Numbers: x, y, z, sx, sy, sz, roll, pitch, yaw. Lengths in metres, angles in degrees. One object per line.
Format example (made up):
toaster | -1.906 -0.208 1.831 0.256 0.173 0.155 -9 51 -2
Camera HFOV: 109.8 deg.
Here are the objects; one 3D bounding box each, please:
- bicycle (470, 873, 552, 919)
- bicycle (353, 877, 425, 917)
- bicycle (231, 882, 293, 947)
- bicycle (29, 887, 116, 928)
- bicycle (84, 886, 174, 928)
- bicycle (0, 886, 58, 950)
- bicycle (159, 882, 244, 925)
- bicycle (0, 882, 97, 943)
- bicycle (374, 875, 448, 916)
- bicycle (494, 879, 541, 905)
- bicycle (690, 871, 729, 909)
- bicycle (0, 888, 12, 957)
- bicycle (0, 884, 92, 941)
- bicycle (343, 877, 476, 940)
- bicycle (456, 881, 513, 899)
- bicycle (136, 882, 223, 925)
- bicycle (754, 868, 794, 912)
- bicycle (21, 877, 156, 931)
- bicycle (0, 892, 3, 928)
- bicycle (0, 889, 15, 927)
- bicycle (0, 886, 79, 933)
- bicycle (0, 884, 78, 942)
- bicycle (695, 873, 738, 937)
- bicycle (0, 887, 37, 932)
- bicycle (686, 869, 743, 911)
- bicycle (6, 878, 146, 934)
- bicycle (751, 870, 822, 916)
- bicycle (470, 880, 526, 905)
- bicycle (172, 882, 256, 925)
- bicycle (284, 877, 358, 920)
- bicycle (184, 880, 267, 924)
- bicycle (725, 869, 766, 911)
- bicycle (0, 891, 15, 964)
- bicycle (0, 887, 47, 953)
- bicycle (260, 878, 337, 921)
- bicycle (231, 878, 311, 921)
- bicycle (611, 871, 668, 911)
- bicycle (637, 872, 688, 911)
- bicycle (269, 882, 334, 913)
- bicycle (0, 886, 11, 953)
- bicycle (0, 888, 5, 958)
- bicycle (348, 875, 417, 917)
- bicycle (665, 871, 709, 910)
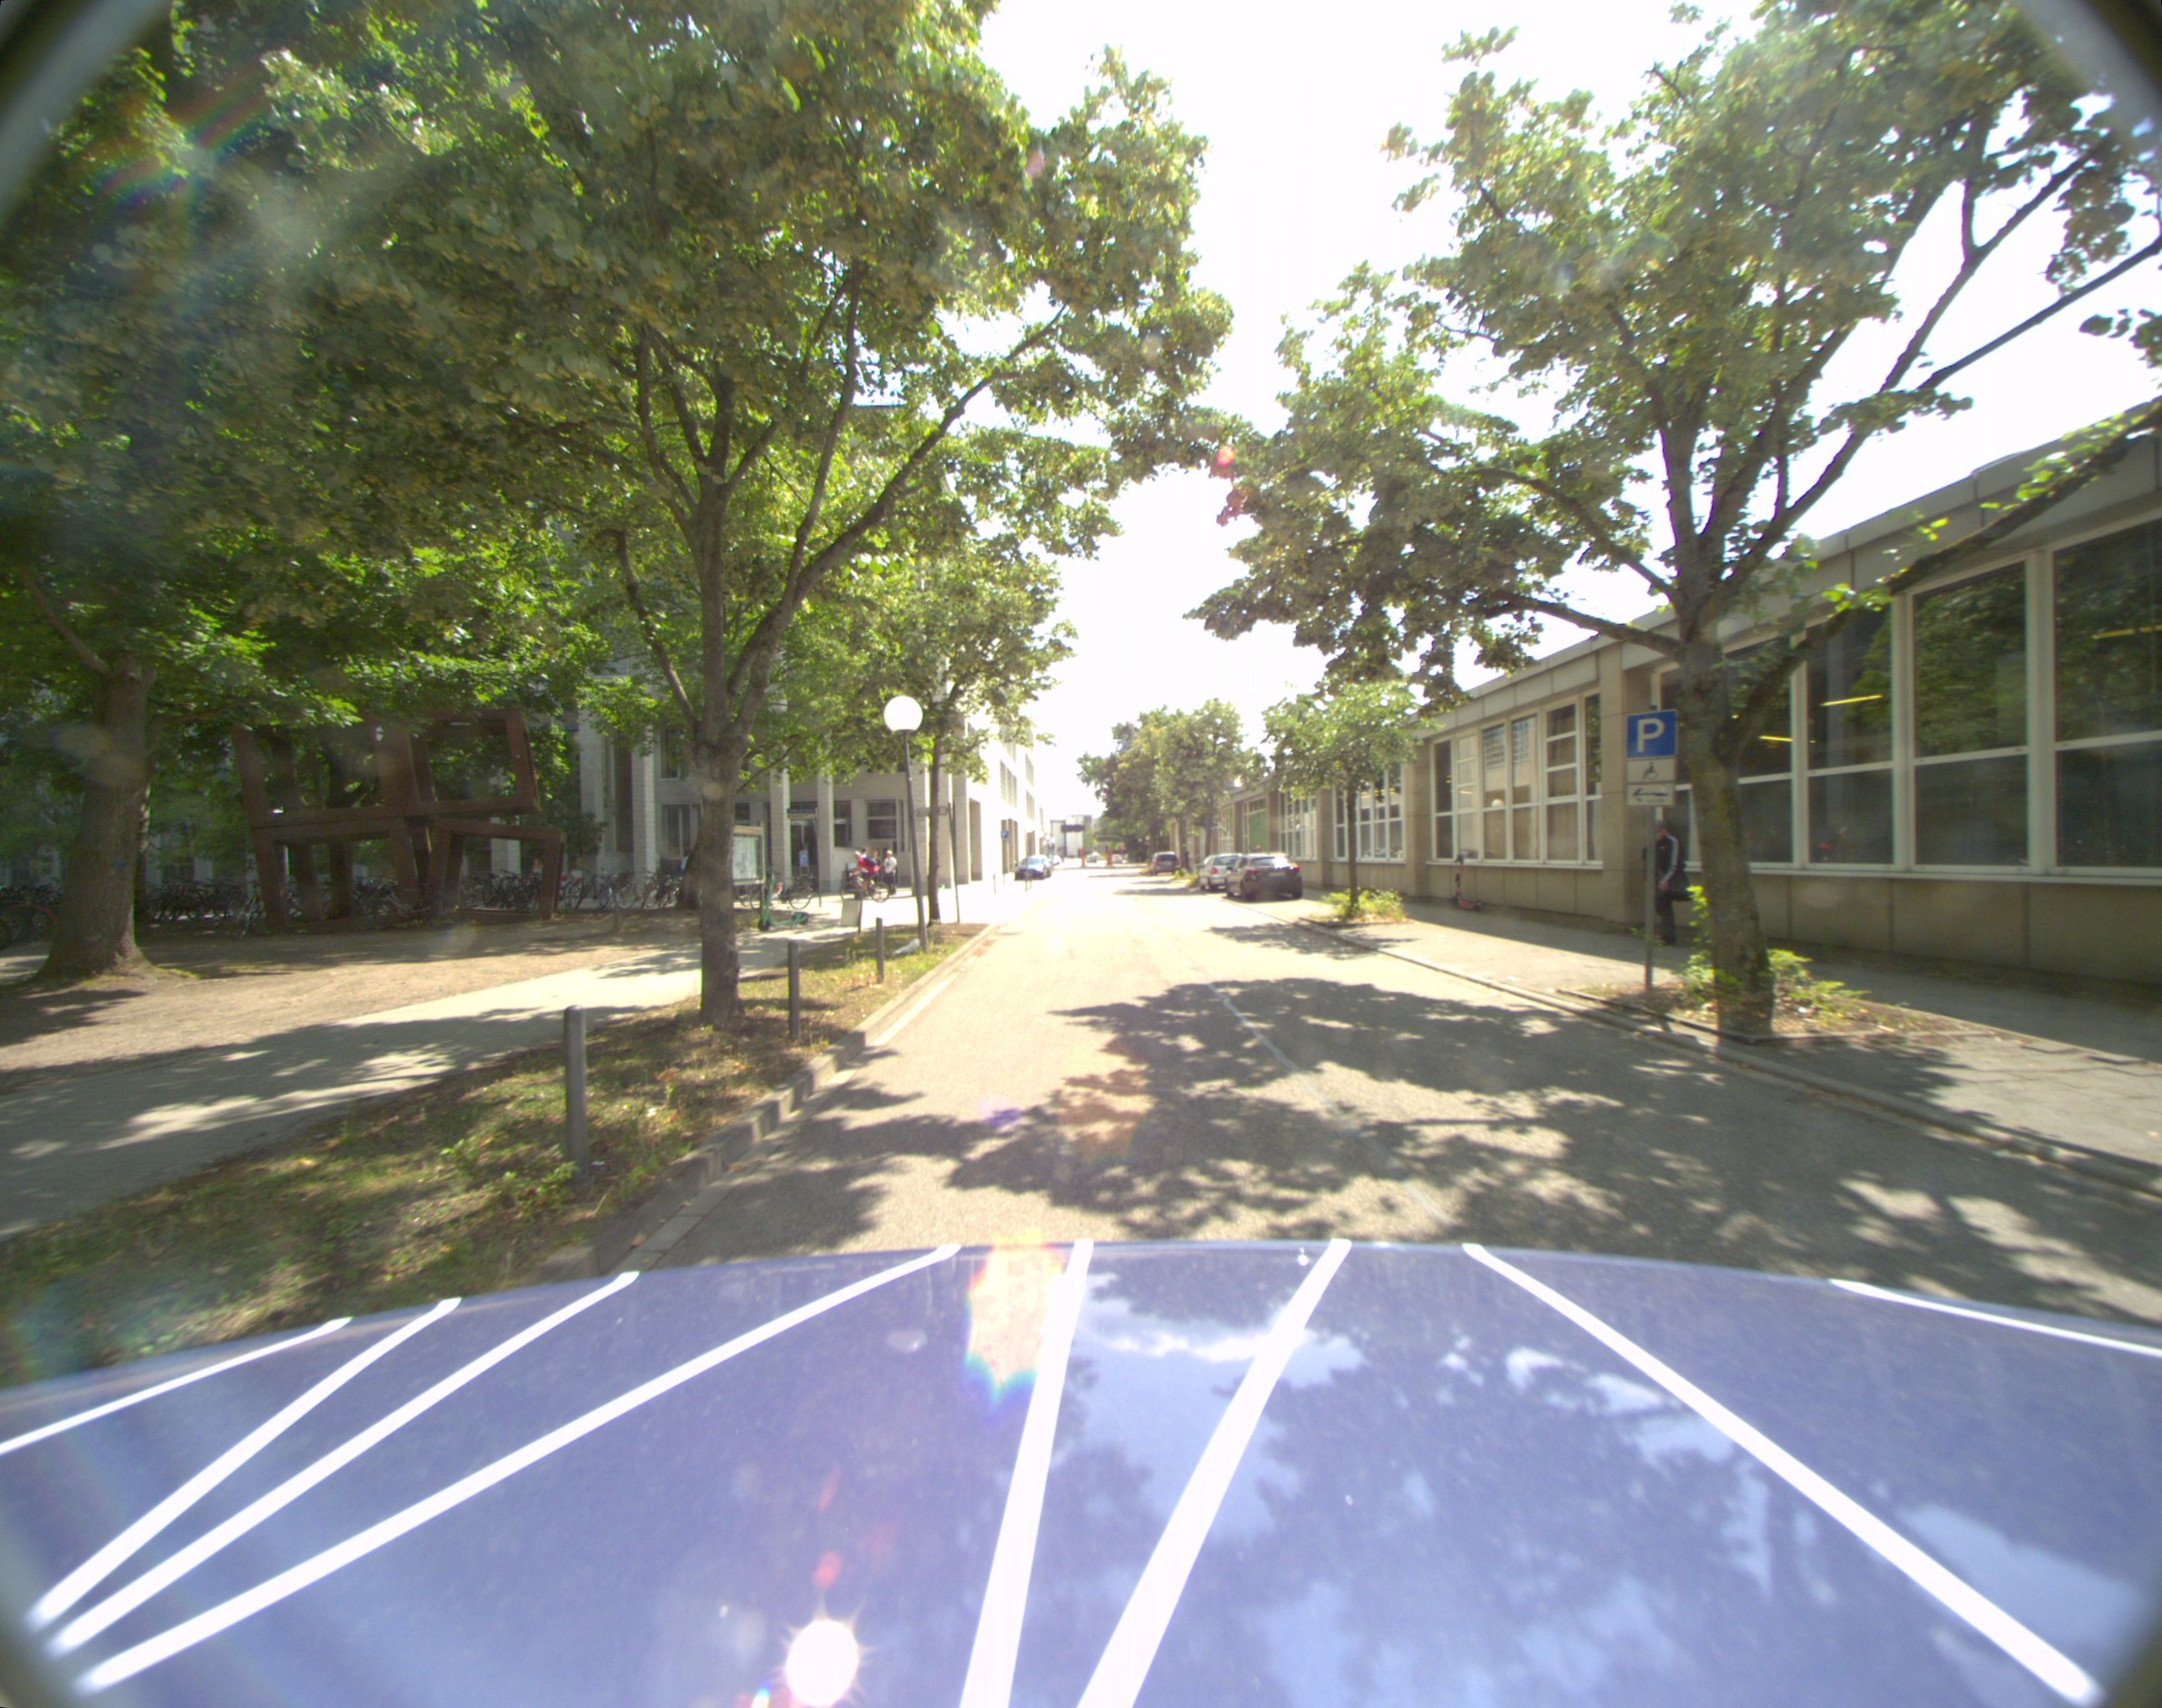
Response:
bicycle | -14.191 1.021 18.987 0.463 1.071 1.829 0 -1 8
bicycle | -19.415 1.193 21.359 0.501 1.041 1.688 -4 -1 -5
bicycle | -15.683 1.126 14.580 0.476 1.103 1.665 -2 2 -36
bicycle | -28.560 1.499 21.550 0.479 1.077 1.687 -4 -1 -13
bicycle | -27.085 1.477 21.665 0.478 1.077 1.688 -4 -1 -5
bicycle | -20.314 1.199 13.900 1.849 1.163 0.412 -1 0 -39
bicycle | -24.829 1.369 21.488 0.478 1.123 1.688 -4 -1 -5
bicycle | -21.437 1.182 15.340 1.849 1.163 0.412 -1 0 -39
bicycle | -18.836 1.148 21.399 0.617 1.041 1.688 -4 -1 -5
bicycle | -22.028 1.468 29.756 0.337 0.894 1.777 -2 1 6
bicycle | -10.754 1.029 22.053 0.460 1.079 1.440 0 -1 -2
bicycle | -19.149 1.178 12.437 1.849 1.163 0.412 -1 0 -39
bicycle | -22.738 1.260 16.264 1.849 1.163 0.345 -1 0 -44
bicycle | -13.488 1.059 15.347 1.928 1.103 0.631 -2 2 -36
bicycle | -27.209 1.647 34.675 1.990 0.755 0.643 0 -1 -10
bicycle | -25.415 1.374 21.460 0.478 1.123 1.688 -4 -1 -5
bicycle | -8.652 0.991 21.471 0.561 1.135 1.489 0 1 -2
bicycle | -23.202 1.149 17.810 1.849 1.163 0.412 -1 0 -39
bicycle | -32.503 1.667 21.877 0.529 1.077 1.688 -4 -1 -5
bicycle | -31.232 1.552 21.260 0.478 1.077 1.688 -4 -1 -5
bicycle | -26.109 1.363 18.931 0.352 1.077 1.471 -1 0 -3
bicycle | -22.593 1.246 15.918 1.849 1.163 0.345 -1 0 -44
bicycle | -7.269 0.981 15.201 0.629 1.078 1.684 -4 4 -23
bicycle | -27.060 1.394 18.905 0.353 1.077 1.470 -1 0 -12
bicycle | -10.318 1.010 21.428 0.491 1.134 1.529 0 -1 20
bicycle | -22.749 1.158 17.253 1.849 1.163 0.412 -1 0 -39
bicycle | -8.009 1.034 20.719 0.604 1.135 1.790 1 1 33
bicycle | -22.862 1.514 29.839 0.447 0.894 1.779 -2 0 19
bicycle | -24.292 1.364 21.324 0.454 1.123 1.688 -4 -1 -5
bicycle | -21.509 1.231 21.540 0.454 1.123 1.688 -4 -1 -5
bicycle | -23.776 1.323 21.164 0.454 1.123 1.688 -4 -1 -5
bicycle | -9.577 1.011 21.727 0.561 1.134 1.490 0 -1 -2
bicycle | -18.204 1.194 11.813 1.848 1.163 0.387 -1 0 -36
bicycle | -20.002 1.204 13.515 1.849 1.163 0.412 -1 0 -39
bicycle | -22.092 1.268 21.490 0.454 1.123 1.688 -4 -1 -5
bicycle | -22.662 1.250 21.301 0.454 1.123 1.688 -4 -1 -5
bicycle | -12.485 1.020 21.532 0.481 1.079 1.697 0 -1 6
bicycle | -11.990 1.057 21.816 0.481 1.079 1.516 0 -1 6
bicycle | -29.896 1.656 29.154 1.832 1.097 0.570 -2 -1 -2
bicycle | -19.733 1.166 12.839 1.849 1.163 0.412 -1 0 -39
bicycle | -18.677 1.155 12.026 1.849 1.163 0.387 -1 0 -39
bicycle | -20.014 1.188 21.803 0.454 1.123 1.688 -4 -1 -5
bicycle | -11.230 1.030 21.689 0.460 1.079 1.474 0 -1 2
